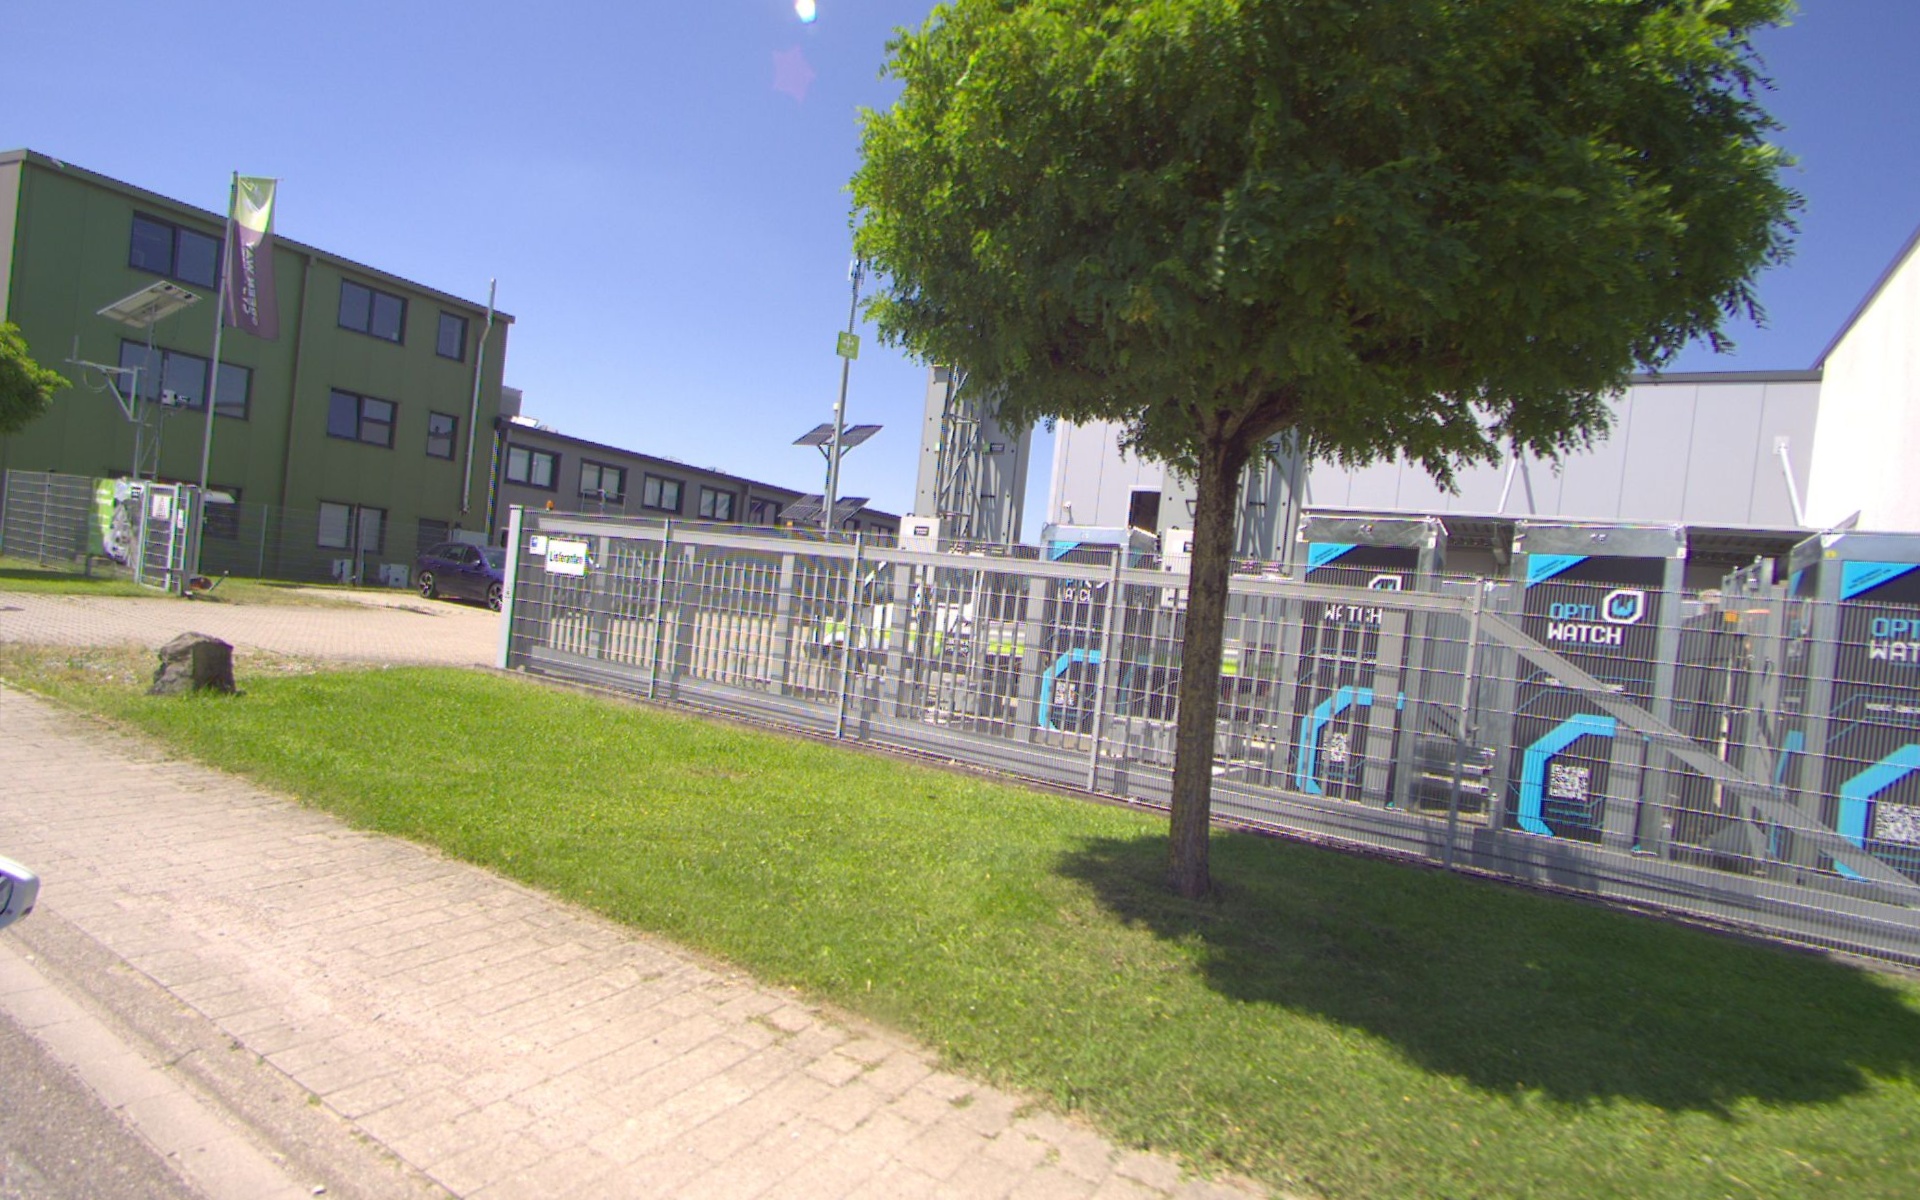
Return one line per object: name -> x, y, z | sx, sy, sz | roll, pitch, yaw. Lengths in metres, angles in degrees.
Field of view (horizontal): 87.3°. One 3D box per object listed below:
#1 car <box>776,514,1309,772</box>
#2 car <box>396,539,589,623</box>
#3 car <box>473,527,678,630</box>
car -> 0.871, 0.356, 13.814 | 6.910, 2.527, 2.129 | 6, 2, 32
car -> -11.324, -0.469, 24.277 | 4.536, 1.456, 1.995 | 7, 0, 32
car -> -10.232, -0.599, 26.596 | 5.561, 2.021, 1.995 | 7, 1, 32
